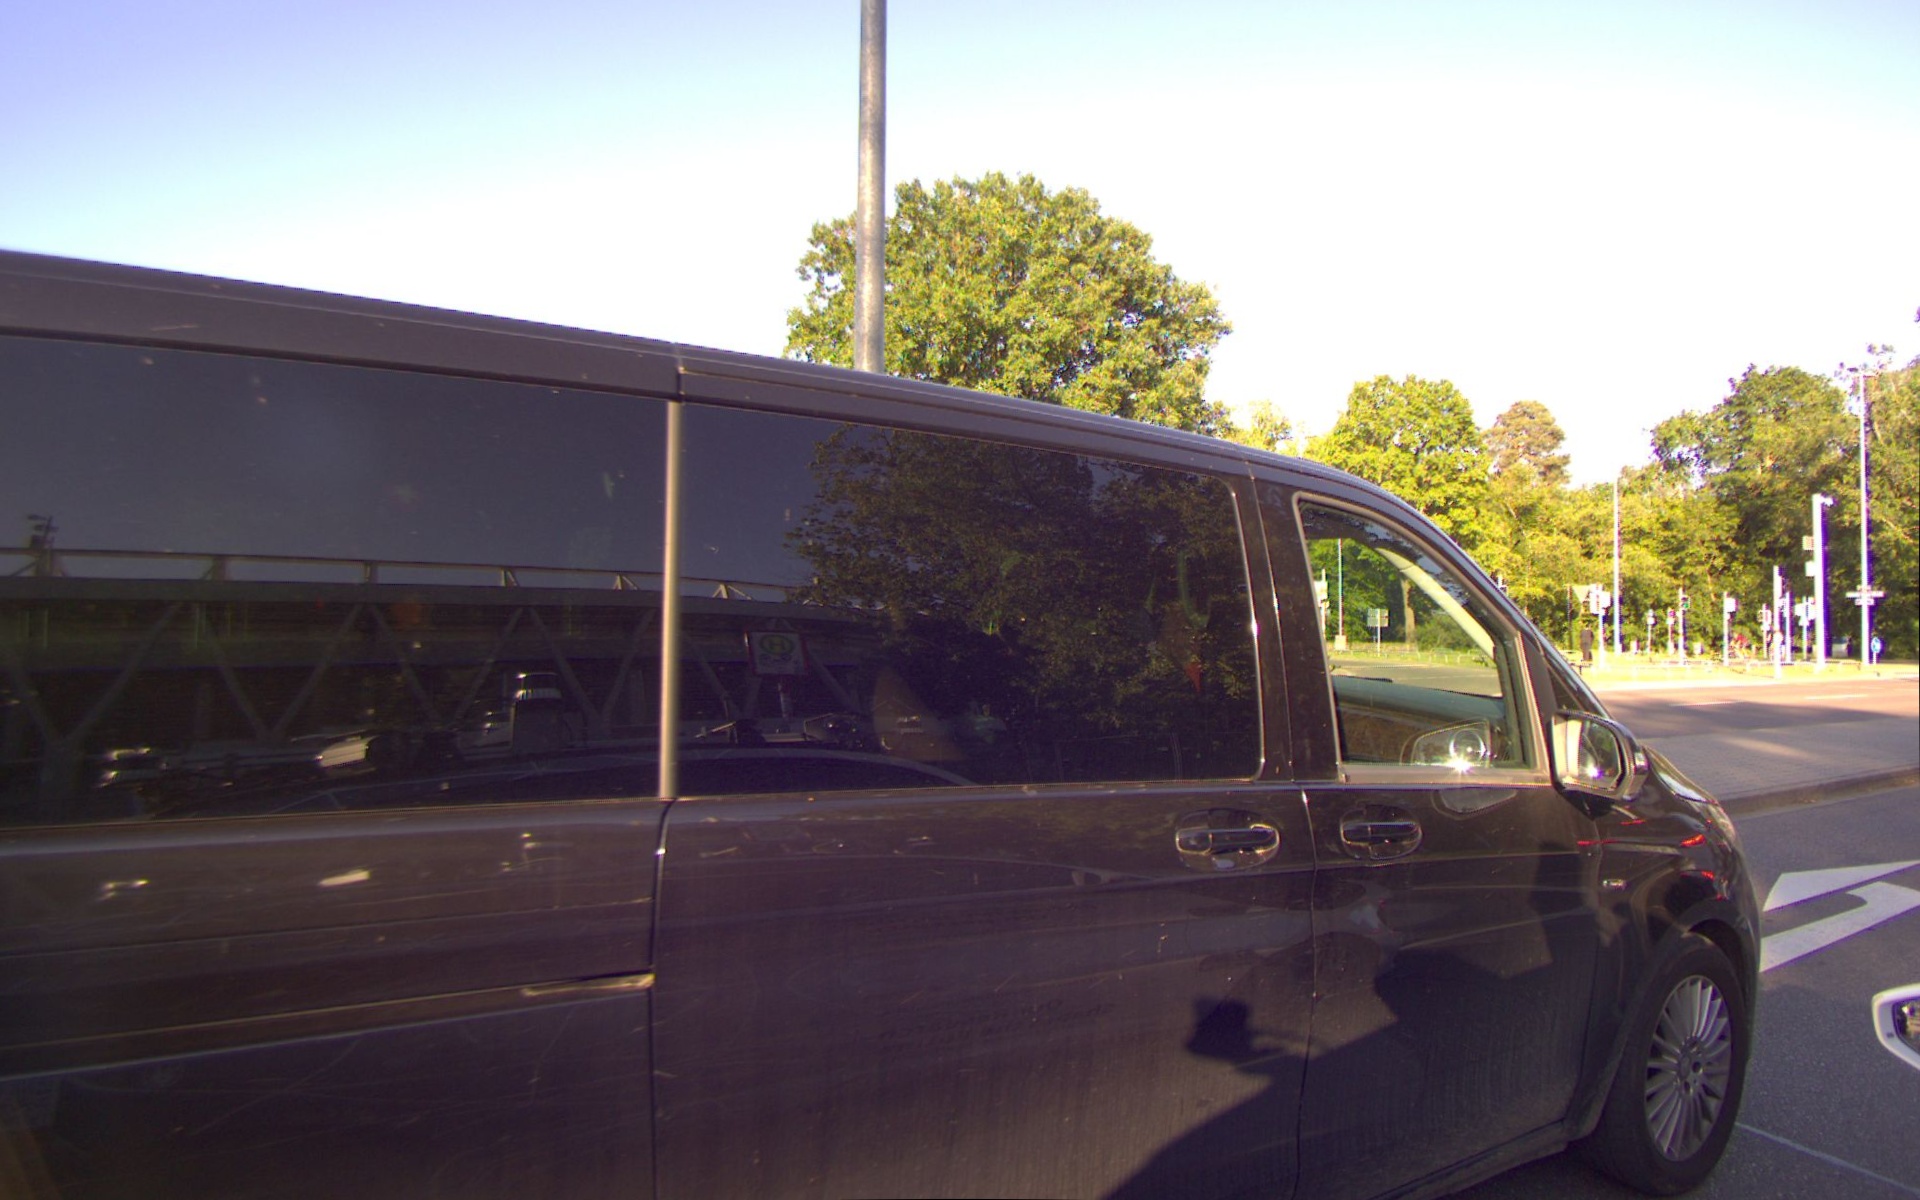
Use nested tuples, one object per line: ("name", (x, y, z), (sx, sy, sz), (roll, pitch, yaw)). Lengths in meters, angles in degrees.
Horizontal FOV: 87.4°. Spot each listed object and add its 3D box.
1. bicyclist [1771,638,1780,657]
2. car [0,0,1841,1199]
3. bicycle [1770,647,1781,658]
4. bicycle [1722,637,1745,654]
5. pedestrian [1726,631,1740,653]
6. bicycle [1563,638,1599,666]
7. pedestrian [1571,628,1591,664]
("bicyclist", (43.126, 2.500, 53.124), (0.238, 0.975, 0.271), (2, 0, -37))
("car", (0.011, 0.342, 2.470), (4.817, 1.881, 1.897), (-2, 2, -31))
("bicycle", (43.152, 2.772, 53.156), (0.831, 0.589, 0.264), (2, 0, -36))
("bicycle", (39.302, 2.302, 51.019), (1.265, 0.810, 0.574), (2, 0, -35))
("pedestrian", (39.262, 2.124, 51.016), (0.375, 1.123, 0.442), (2, 0, -36))
("bicycle", (27.344, 2.273, 44.228), (1.980, 1.193, 0.466), (2, 0, -31))
("pedestrian", (27.322, 2.019, 44.222), (0.641, 1.583, 0.479), (2, 0, -30))
